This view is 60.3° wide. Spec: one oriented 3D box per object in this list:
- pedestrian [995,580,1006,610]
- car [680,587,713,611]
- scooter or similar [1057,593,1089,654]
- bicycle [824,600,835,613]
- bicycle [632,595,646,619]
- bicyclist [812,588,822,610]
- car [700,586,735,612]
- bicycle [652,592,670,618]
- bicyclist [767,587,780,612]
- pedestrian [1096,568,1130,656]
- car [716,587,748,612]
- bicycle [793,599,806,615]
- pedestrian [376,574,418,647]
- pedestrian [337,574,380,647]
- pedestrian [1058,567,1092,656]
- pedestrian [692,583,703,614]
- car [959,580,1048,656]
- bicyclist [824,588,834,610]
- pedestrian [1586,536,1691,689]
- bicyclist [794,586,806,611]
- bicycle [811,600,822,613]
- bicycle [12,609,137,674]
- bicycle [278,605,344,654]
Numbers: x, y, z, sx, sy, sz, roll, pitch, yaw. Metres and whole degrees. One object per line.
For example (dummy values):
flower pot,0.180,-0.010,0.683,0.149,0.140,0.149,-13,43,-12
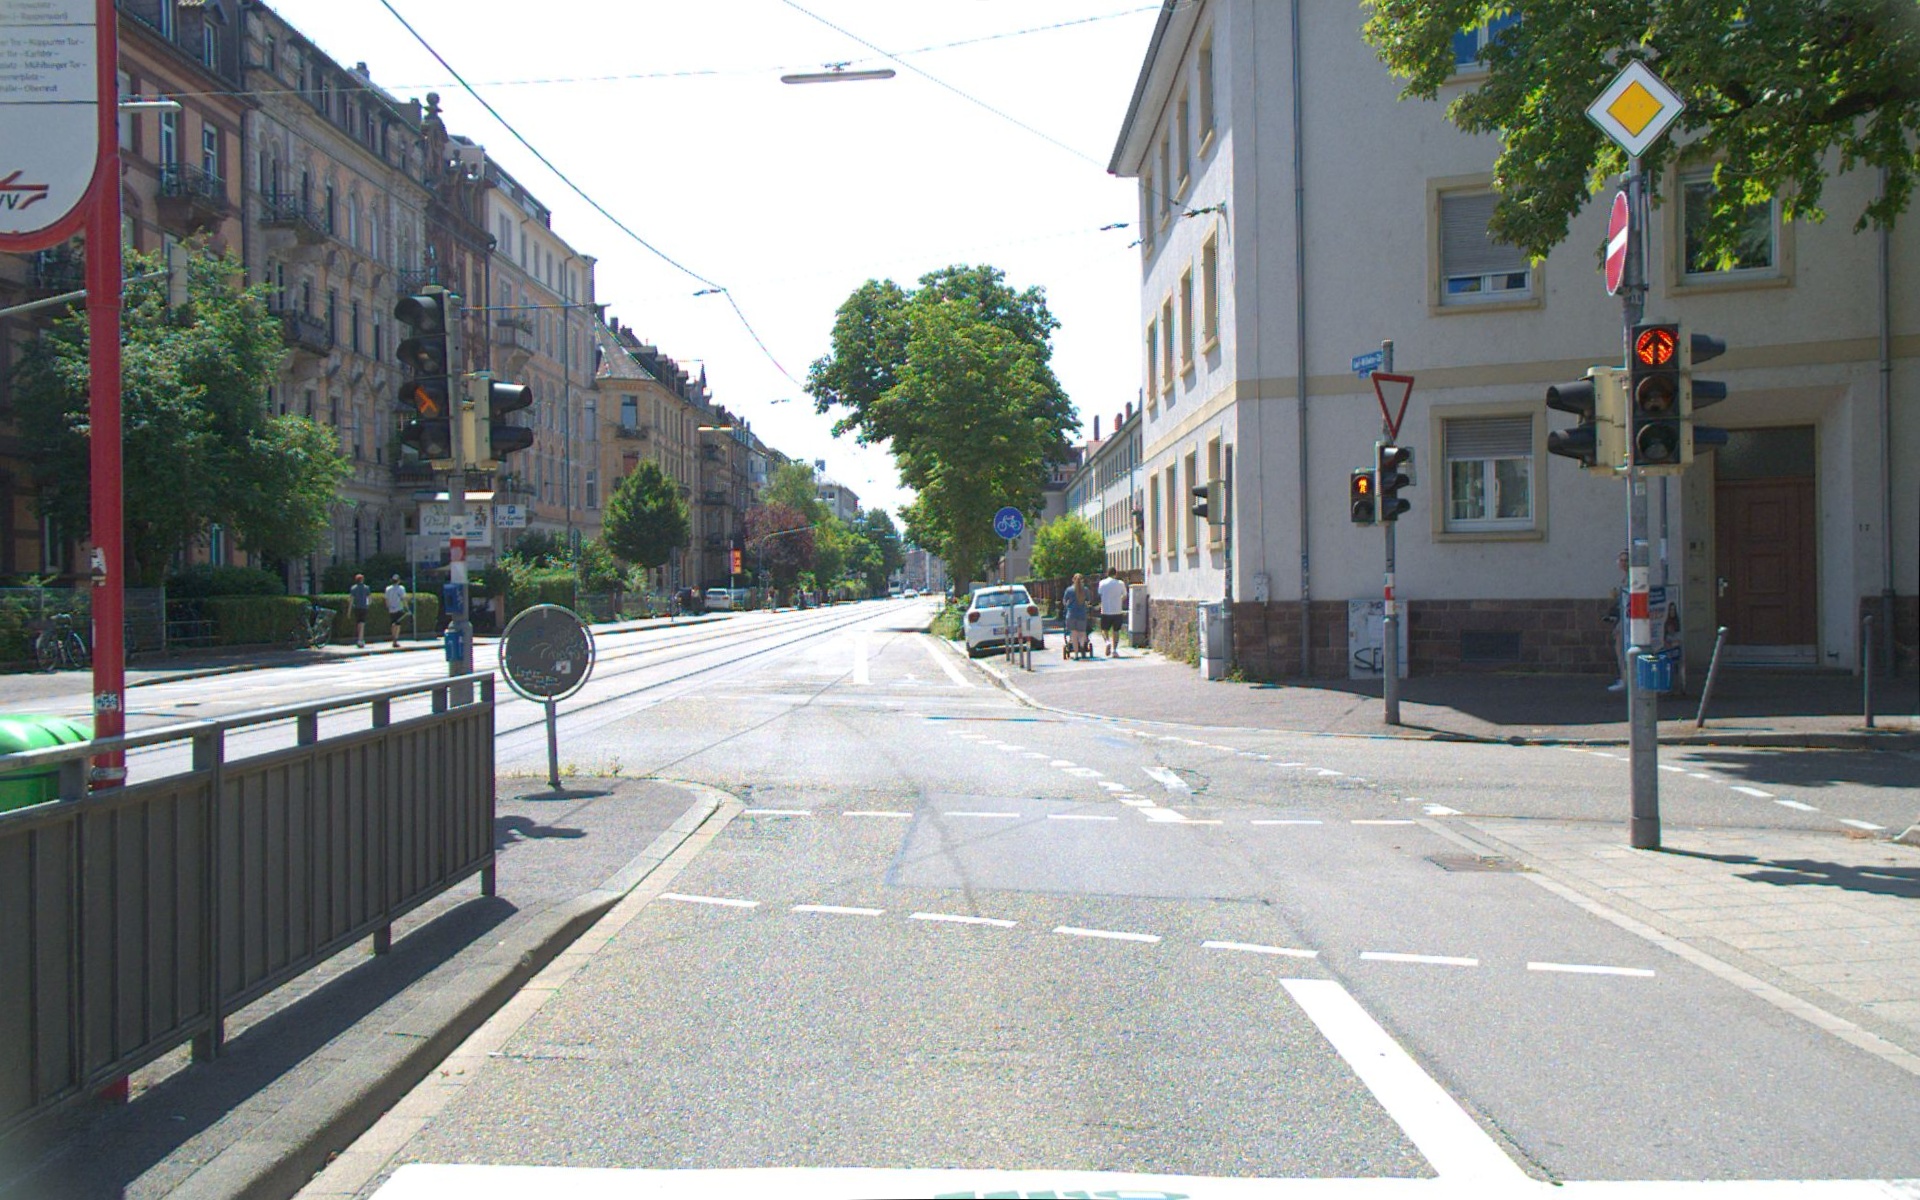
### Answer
pedestrian,2.159,-0.283,88.537,0.511,1.590,0.573,-1,0,-1
car,-19.668,-0.071,123.609,1.880,1.745,3.999,1,0,-1
scooter or similar,2.229,0.455,32.523,0.545,1.175,1.206,1,0,7
bicycle,-11.418,0.572,144.524,0.712,1.142,2.085,1,0,1
bicycle,-15.493,0.334,79.789,0.665,1.083,1.913,-1,0,-12
bicyclist,-12.503,-0.076,144.493,0.712,1.850,1.079,1,0,1
car,-16.869,-0.057,115.314,1.880,1.745,3.999,1,0,-1
bicycle,-15.270,0.248,84.437,0.664,1.301,1.917,-1,0,-4
bicyclist,-12.199,-0.020,108.227,0.712,1.657,1.079,1,0,1
pedestrian,2.938,0.227,31.851,0.545,1.674,0.677,1,-1,-2
car,-17.037,-0.026,123.575,1.880,1.745,3.999,1,0,-1
bicycle,-11.771,0.510,121.613,0.712,1.142,2.085,1,0,1
pedestrian,-14.595,0.270,42.900,0.800,1.854,0.873,1,1,-4
pedestrian,-15.493,0.264,42.623,0.800,1.854,0.873,1,1,-4
pedestrian,2.193,0.217,31.599,0.545,1.674,0.677,1,-1,-2
pedestrian,-14.628,-0.071,92.073,0.510,1.688,0.529,-1,0,-1
car,0.932,0.396,37.327,1.778,1.542,3.999,-3,0,-1
bicyclist,-11.419,-0.070,144.529,0.712,1.850,1.079,1,0,1
pedestrian,8.171,0.147,19.953,1.032,1.719,0.654,-4,3,22
bicyclist,-11.761,-0.122,121.647,0.712,1.799,1.079,1,0,1
bicycle,-12.515,0.575,144.473,0.712,1.142,2.085,1,0,1
bicycle,-16.708,0.759,31.306,0.918,1.156,2.773,1,0,-2
bicycle,-15.871,0.699,40.518,0.920,1.156,2.767,1,0,-9
